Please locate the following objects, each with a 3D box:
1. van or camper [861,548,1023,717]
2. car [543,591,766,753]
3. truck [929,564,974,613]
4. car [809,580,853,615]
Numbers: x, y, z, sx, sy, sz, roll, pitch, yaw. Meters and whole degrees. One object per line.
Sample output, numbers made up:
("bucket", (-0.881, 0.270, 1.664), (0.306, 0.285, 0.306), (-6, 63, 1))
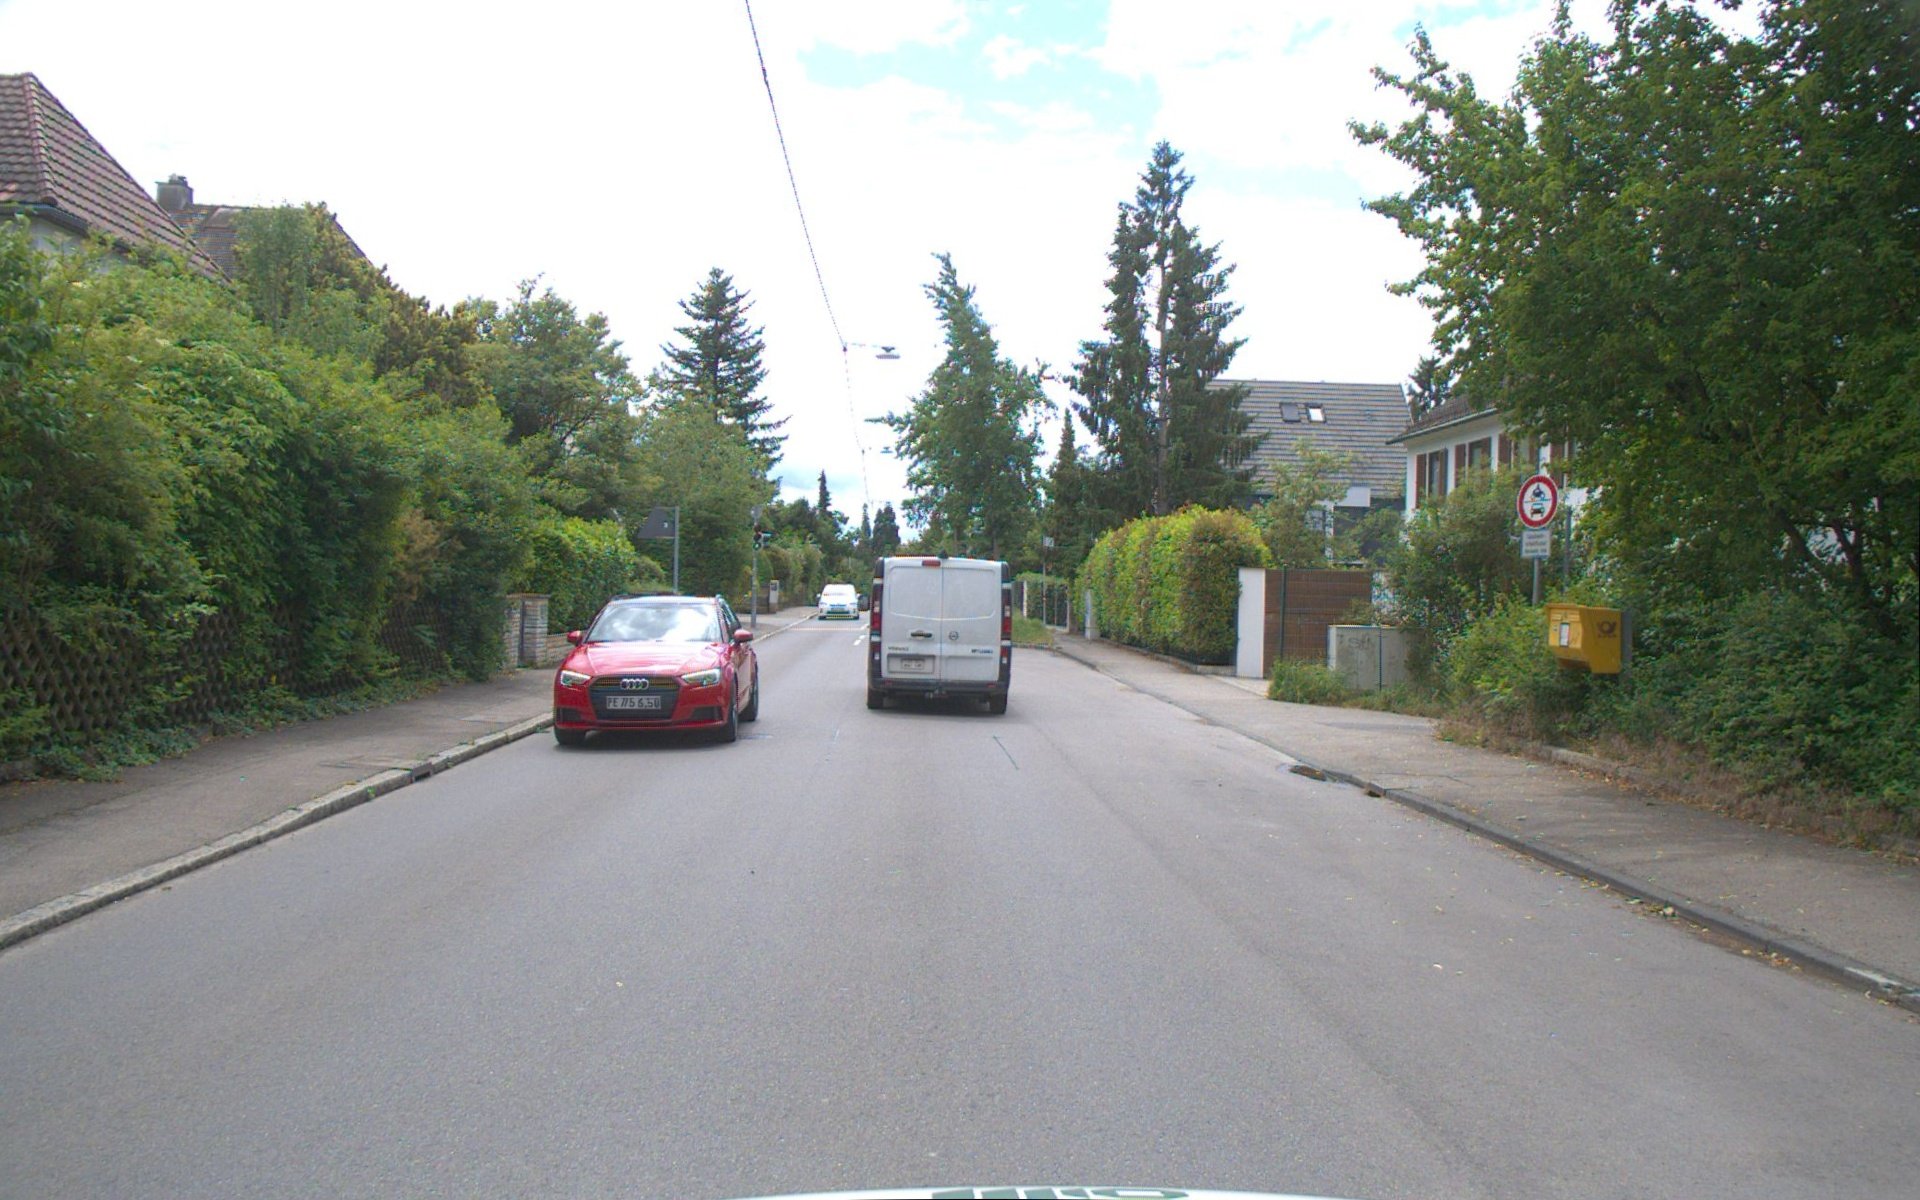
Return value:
("van or camper", (-0.333, 0.438, 22.637), (1.901, 1.988, 4.762), (3, -1, -3))
("car", (-3.070, 0.664, 17.395), (1.769, 1.456, 4.115), (-1, 0, -3))
("truck", (-0.511, -0.638, 92.339), (2.143, 2.515, 7.427), (3, 0, -2))
("car", (-5.596, -0.125, 72.032), (1.818, 1.476, 4.278), (0, 0, -4))
